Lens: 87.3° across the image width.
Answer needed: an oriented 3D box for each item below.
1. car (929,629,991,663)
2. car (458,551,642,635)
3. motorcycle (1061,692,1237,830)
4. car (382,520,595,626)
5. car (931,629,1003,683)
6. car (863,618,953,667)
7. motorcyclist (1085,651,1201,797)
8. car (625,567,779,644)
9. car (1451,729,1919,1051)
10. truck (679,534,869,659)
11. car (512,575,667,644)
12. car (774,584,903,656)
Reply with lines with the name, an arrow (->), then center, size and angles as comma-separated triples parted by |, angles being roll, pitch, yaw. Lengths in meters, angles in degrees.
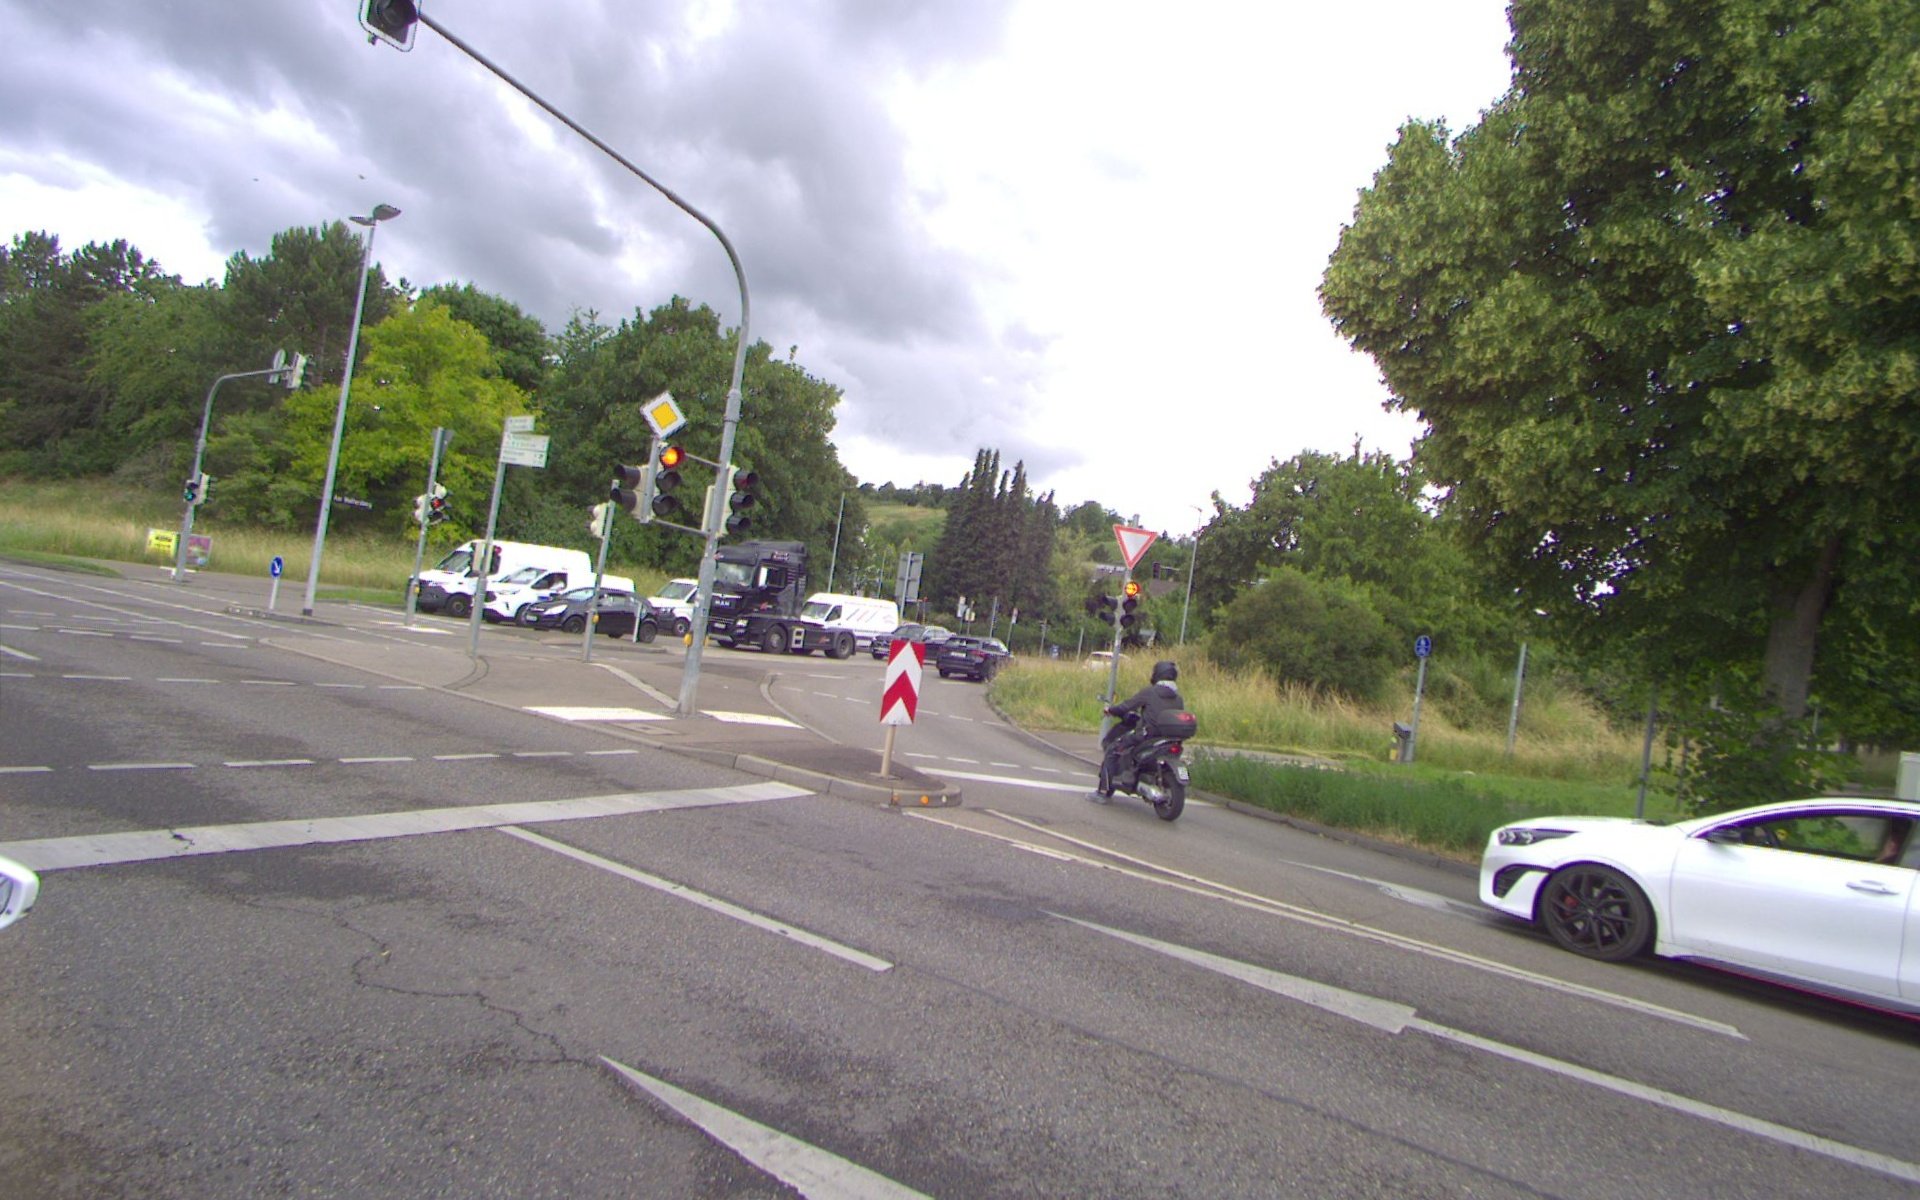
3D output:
car -> 0.040, 2.636, 57.100 | 1.625, 1.473, 3.861 | 7, -2, 32
car -> -12.826, -0.150, 31.811 | 2.086, 2.013, 4.981 | 5, -3, 32
motorcycle -> 2.003, 1.707, 11.028 | 0.750, 1.102, 2.059 | 9, -2, -23
car -> -15.512, -0.798, 33.529 | 2.192, 2.689, 5.950 | 6, -2, 33
car -> 0.286, 1.839, 33.248 | 1.718, 1.452, 3.871 | 7, -2, 8
car -> -2.104, 1.801, 42.050 | 1.722, 1.594, 3.861 | 7, -2, 32
motorcyclist -> 2.015, 1.355, 11.127 | 0.750, 1.437, 0.813 | 9, -1, -23
car -> -10.381, 0.286, 41.015 | 2.193, 2.413, 5.948 | 6, -2, 35
car -> 5.928, 1.952, 6.557 | 4.455, 1.435, 1.829 | 5, -5, 44
truck -> -6.403, -0.022, 35.504 | 3.025, 3.558, 5.950 | 6, -2, 33
car -> -10.543, 0.318, 28.881 | 1.610, 1.458, 3.858 | 7, -2, 34
car -> -5.719, 1.036, 48.568 | 2.192, 2.751, 6.674 | 6, -2, 33
